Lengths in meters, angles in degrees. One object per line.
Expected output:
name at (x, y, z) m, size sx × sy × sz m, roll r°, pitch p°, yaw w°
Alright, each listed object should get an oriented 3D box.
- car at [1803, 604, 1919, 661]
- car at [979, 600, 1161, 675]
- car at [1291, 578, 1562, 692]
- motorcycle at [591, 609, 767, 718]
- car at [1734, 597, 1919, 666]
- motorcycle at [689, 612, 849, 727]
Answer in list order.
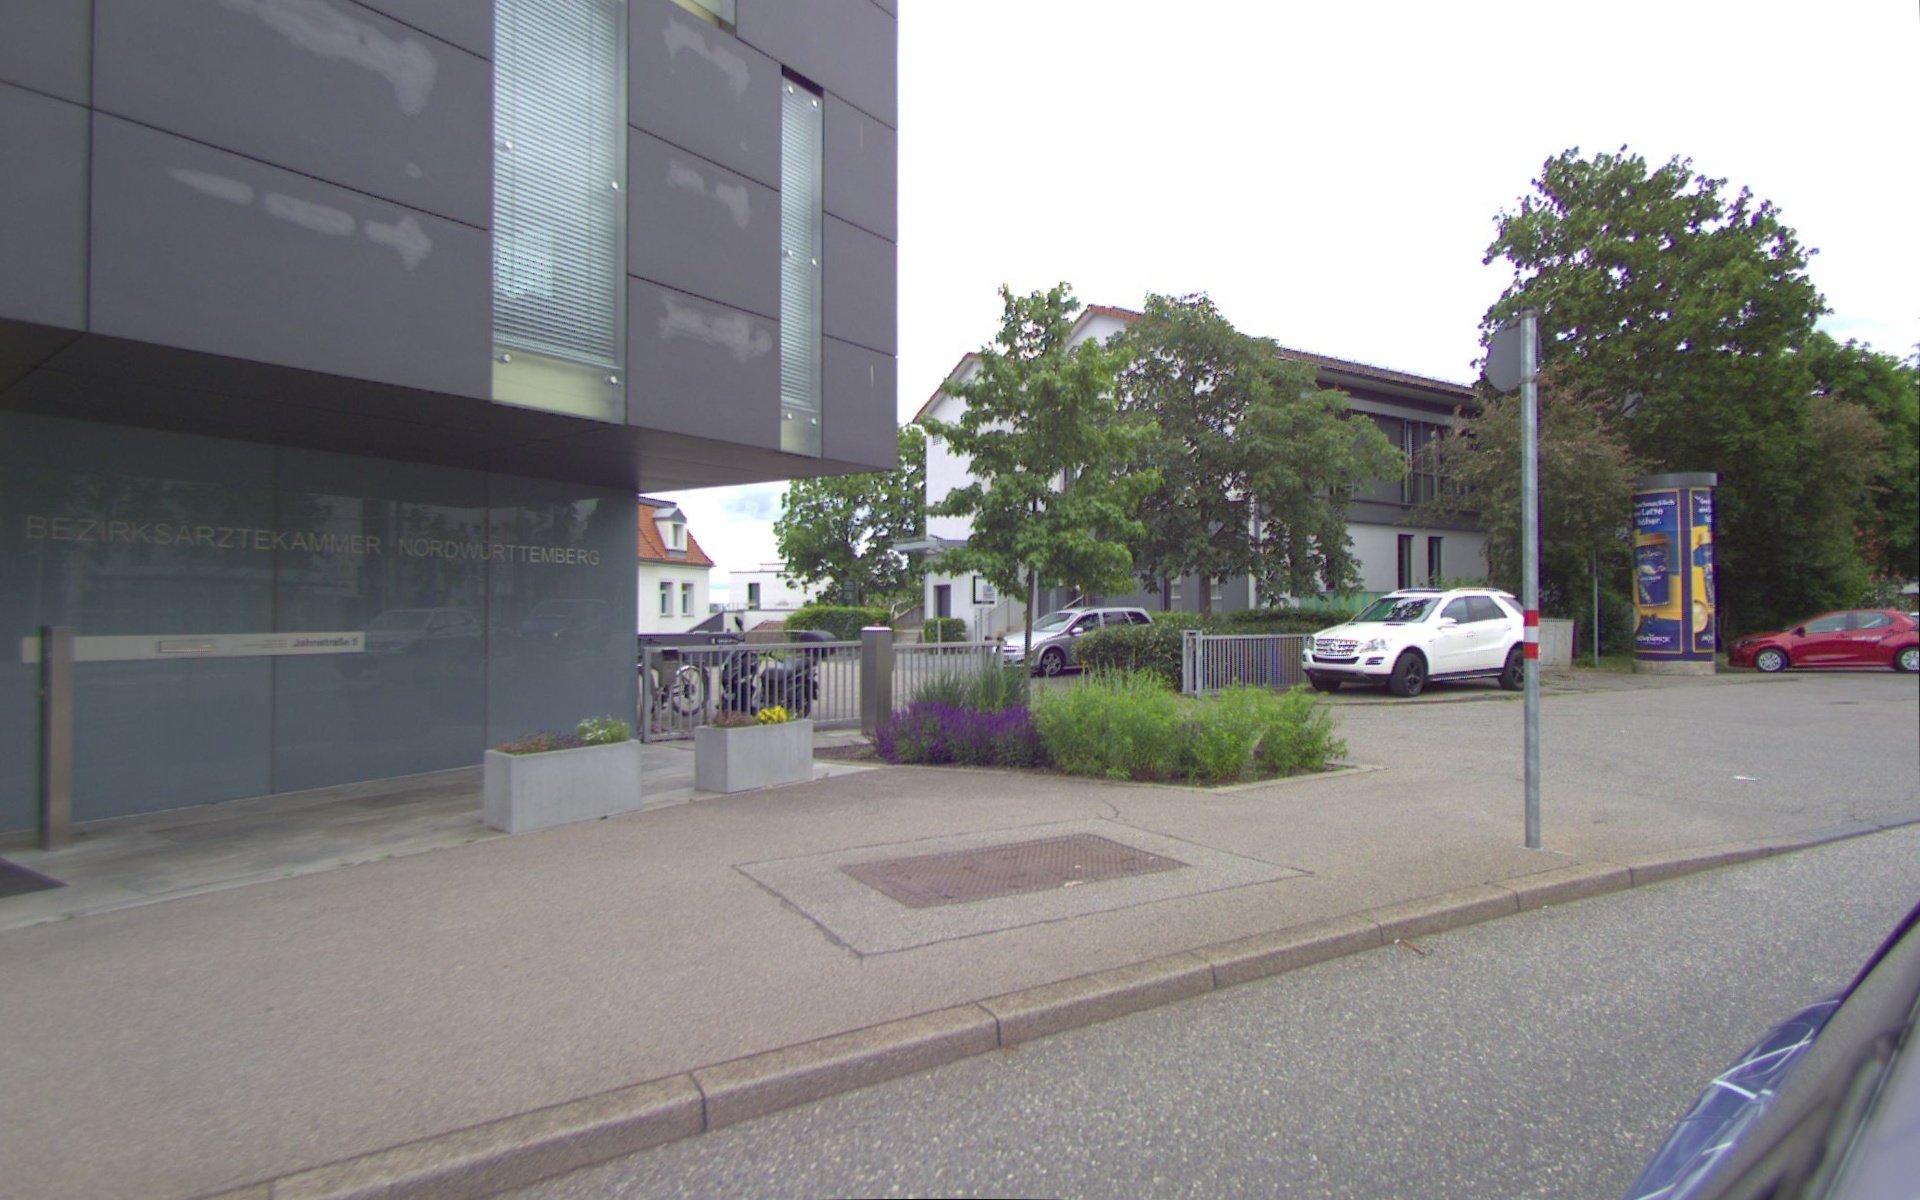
car at (25.063, 0.840, 26.781) m, size 3.967 × 1.428 × 1.507 m, roll -3°, pitch -2°, yaw 32°
car at (2.598, 0.799, 23.511) m, size 4.138 × 1.502 × 1.621 m, roll -2°, pitch 1°, yaw -34°
car at (8.187, 0.536, 17.706) m, size 4.626 × 1.780 × 1.860 m, roll 0°, pitch 0°, yaw -28°
motorcycle at (-3.951, 0.848, 14.435) m, size 0.668 × 1.411 × 2.424 m, roll -1°, pitch -1°, yaw 44°
car at (20.785, 0.750, 23.928) m, size 3.876 × 1.503 × 1.660 m, roll -3°, pitch -2°, yaw 38°
motorcycle at (-2.485, 0.867, 13.402) m, size 0.668 × 1.411 × 2.090 m, roll -1°, pitch -2°, yaw 44°
